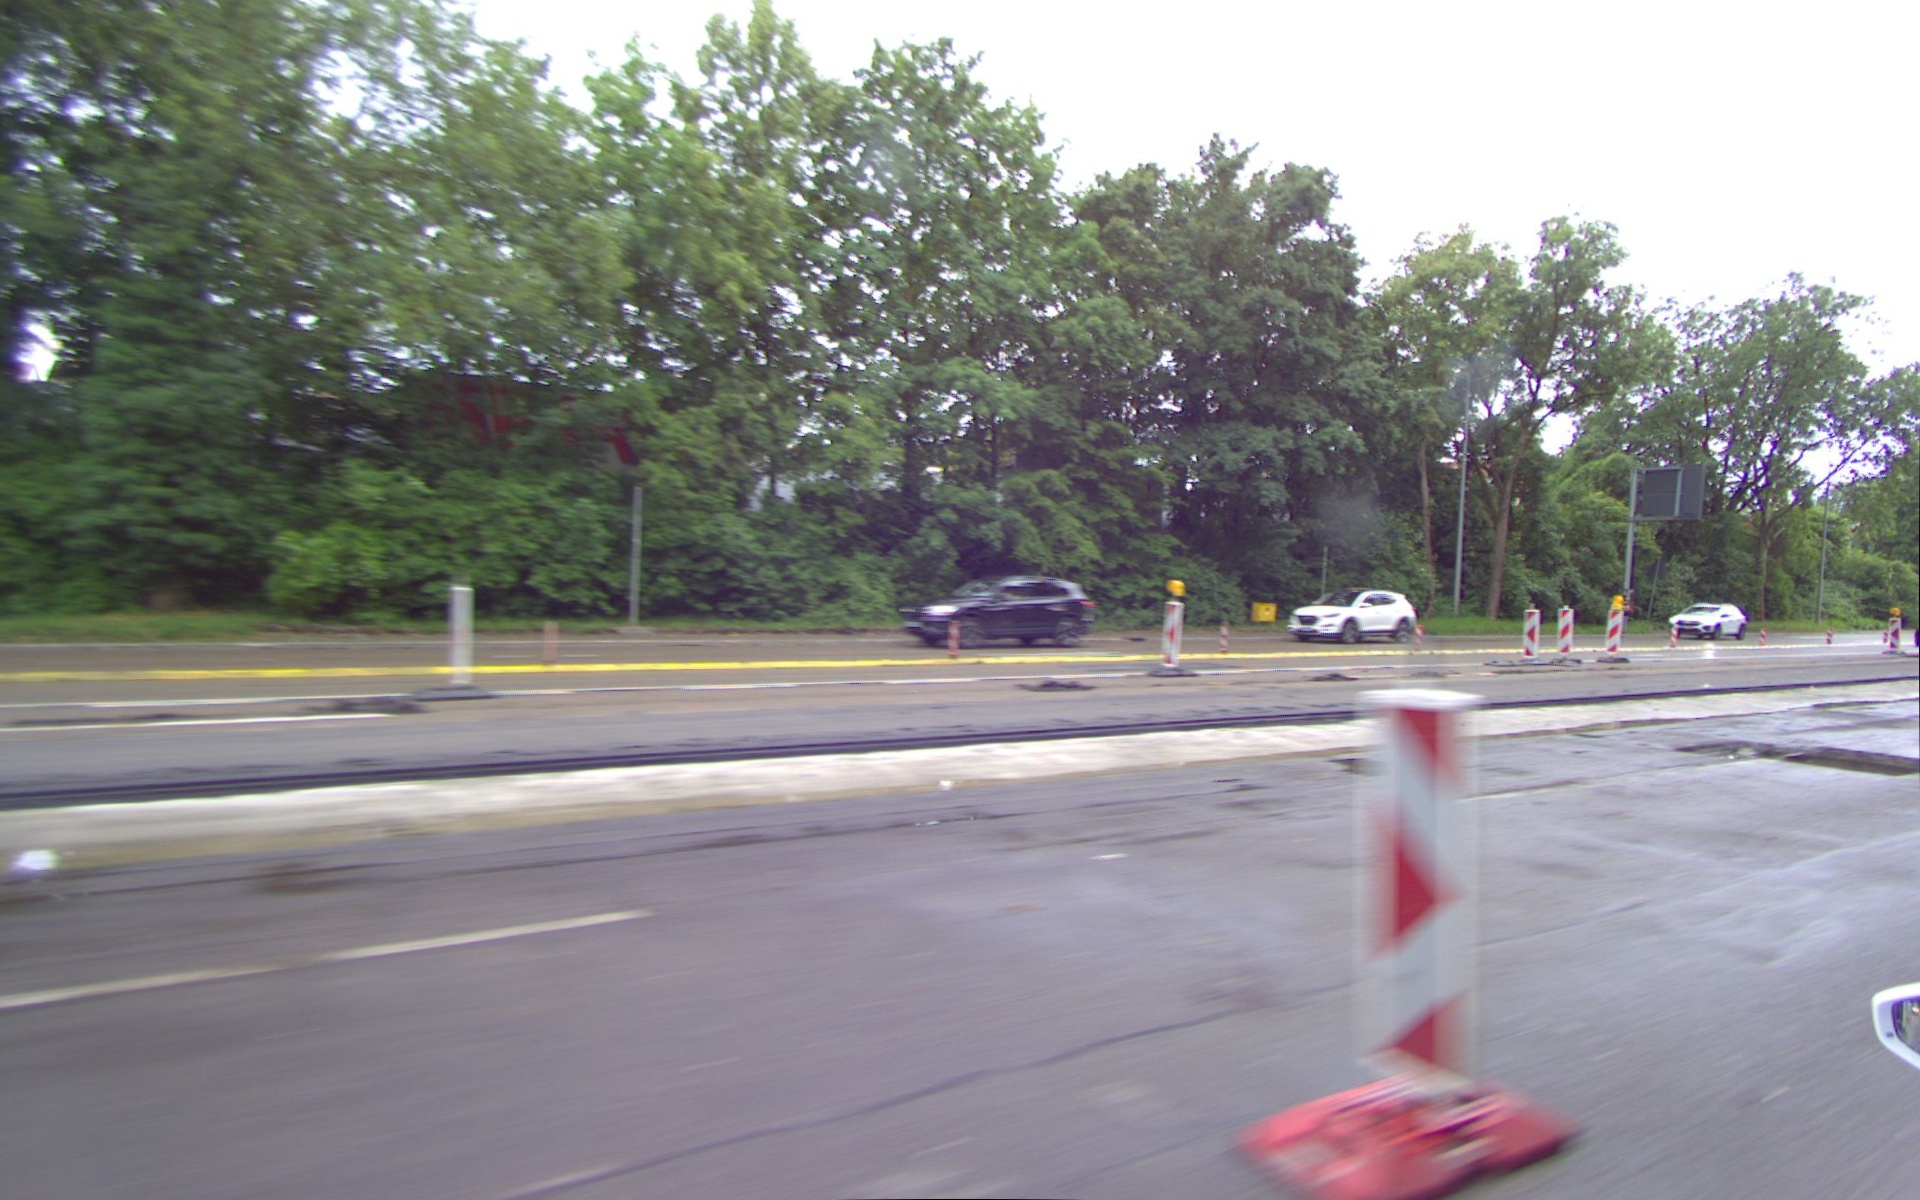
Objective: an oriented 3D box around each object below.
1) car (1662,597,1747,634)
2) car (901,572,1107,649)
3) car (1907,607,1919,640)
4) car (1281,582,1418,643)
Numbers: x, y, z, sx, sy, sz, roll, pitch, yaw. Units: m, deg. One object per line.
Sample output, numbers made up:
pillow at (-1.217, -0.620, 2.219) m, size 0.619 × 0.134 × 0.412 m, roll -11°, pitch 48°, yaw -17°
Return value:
car at (33.137, 0.709, 44.698) m, size 4.111 × 1.561 × 1.657 m, roll 1°, pitch -1°, yaw -32°
car at (1.128, 0.271, 24.306) m, size 4.862 × 1.685 × 1.766 m, roll 1°, pitch 0°, yaw -33°
car at (43.948, 1.105, 44.815) m, size 3.999 × 1.423 × 1.597 m, roll 1°, pitch 2°, yaw -34°
car at (12.230, 0.396, 31.447) m, size 4.333 × 1.774 × 1.766 m, roll 1°, pitch 1°, yaw -33°
